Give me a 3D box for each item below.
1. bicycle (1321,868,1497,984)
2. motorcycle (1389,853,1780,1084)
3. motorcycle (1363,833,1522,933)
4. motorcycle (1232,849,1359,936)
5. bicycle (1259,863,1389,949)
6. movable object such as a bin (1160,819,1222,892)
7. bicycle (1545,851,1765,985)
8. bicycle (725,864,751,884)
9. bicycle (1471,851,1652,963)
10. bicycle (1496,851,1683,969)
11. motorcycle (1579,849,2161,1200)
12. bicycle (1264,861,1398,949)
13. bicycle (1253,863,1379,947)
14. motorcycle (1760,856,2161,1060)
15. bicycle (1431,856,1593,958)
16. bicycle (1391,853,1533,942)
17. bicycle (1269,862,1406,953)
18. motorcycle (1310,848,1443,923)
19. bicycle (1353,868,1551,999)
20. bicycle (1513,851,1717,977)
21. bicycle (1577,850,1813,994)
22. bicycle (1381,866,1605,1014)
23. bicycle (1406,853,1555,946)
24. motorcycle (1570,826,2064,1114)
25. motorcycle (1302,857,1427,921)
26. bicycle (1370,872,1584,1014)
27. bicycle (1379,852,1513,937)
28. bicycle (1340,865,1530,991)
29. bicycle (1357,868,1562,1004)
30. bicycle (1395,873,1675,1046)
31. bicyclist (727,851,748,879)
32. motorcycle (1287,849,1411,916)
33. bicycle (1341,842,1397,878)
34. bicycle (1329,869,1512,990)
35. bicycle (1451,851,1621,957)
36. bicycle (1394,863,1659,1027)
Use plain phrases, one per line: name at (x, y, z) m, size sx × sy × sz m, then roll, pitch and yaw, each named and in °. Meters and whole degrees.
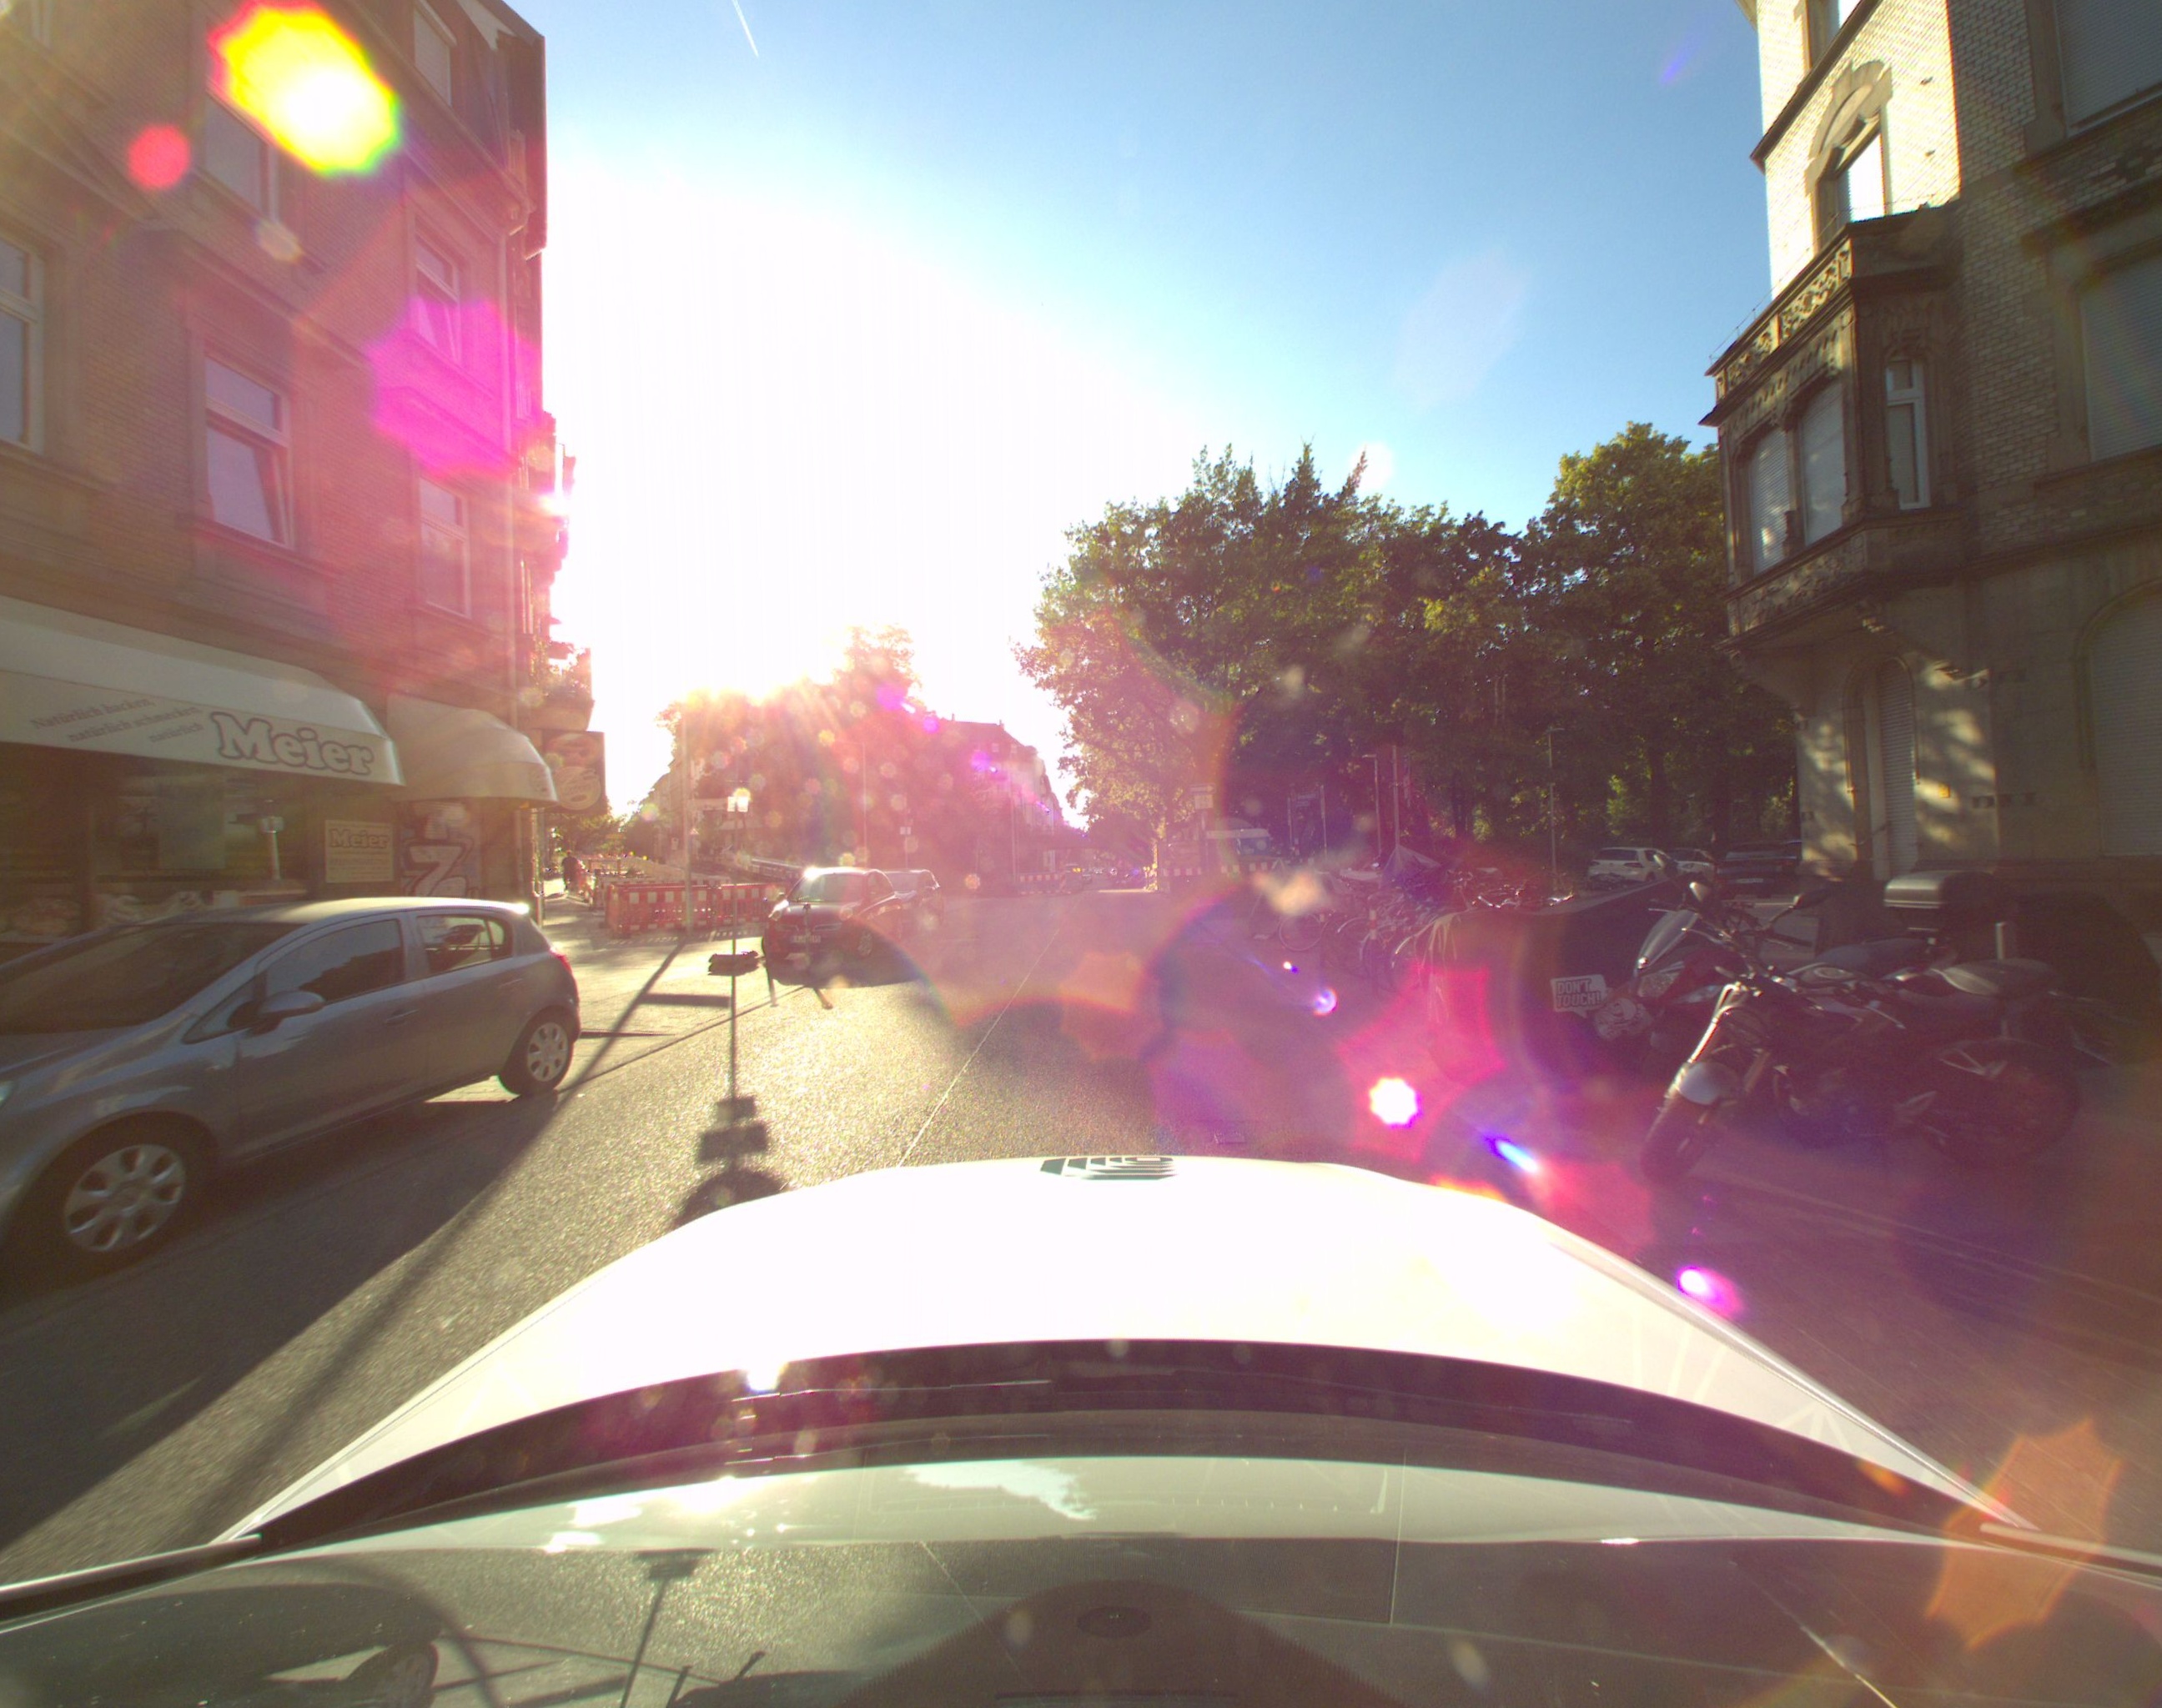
bicycle at (3.786, 0.816, 9.427) m, size 1.920 × 1.246 × 0.302 m, roll -2°, pitch 0°, yaw -4°
motorcycle at (3.305, 0.712, 5.524) m, size 2.016 × 1.285 × 0.904 m, roll -4°, pitch 0°, yaw 0°
motorcycle at (5.963, 0.468, 13.485) m, size 2.278 × 1.531 × 0.755 m, roll -2°, pitch -1°, yaw -5°
motorcycle at (3.731, 0.660, 14.171) m, size 1.913 × 1.412 × 0.947 m, roll -2°, pitch -1°, yaw 30°
bicycle at (3.770, 0.792, 12.671) m, size 1.920 × 1.246 × 0.302 m, roll -2°, pitch 0°, yaw -4°
movable object such as a bin at (4.432, 0.055, 32.416) m, size 1.979 × 2.699 × 3.123 m, roll -2°, pitch -1°, yaw 15°
bicycle at (5.789, 0.623, 8.244) m, size 1.920 × 1.246 × 0.479 m, roll -2°, pitch 0°, yaw -4°
bicycle at (-17.234, 0.985, 40.929) m, size 0.809 × 0.968 × 2.086 m, roll -1°, pitch 0°, yaw -34°
bicycle at (5.781, 0.621, 9.834) m, size 1.920 × 1.246 × 0.479 m, roll -2°, pitch 0°, yaw -4°
bicycle at (5.790, 0.621, 9.301) m, size 1.920 × 1.246 × 0.395 m, roll -2°, pitch 0°, yaw -4°
motorcycle at (3.409, 0.681, 3.613) m, size 2.009 × 1.327 × 0.620 m, roll -2°, pitch 0°, yaw -2°
bicycle at (3.786, 0.762, 12.350) m, size 1.920 × 1.246 × 0.302 m, roll -2°, pitch 0°, yaw -4°
bicycle at (3.746, 0.804, 13.002) m, size 1.920 × 1.246 × 0.302 m, roll -2°, pitch 0°, yaw -4°
motorcycle at (5.894, 0.630, 5.375) m, size 2.016 × 1.108 × 0.904 m, roll -4°, pitch 0°, yaw 0°
bicycle at (5.723, 0.687, 10.852) m, size 1.920 × 1.246 × 0.479 m, roll -2°, pitch 0°, yaw -4°
bicycle at (5.743, 0.637, 12.312) m, size 1.920 × 1.246 × 0.479 m, roll -2°, pitch 0°, yaw -4°
bicycle at (3.779, 0.777, 12.012) m, size 1.920 × 1.246 × 0.302 m, roll -2°, pitch 0°, yaw -4°
motorcycle at (5.569, 0.595, 15.460) m, size 2.267 × 1.341 × 0.658 m, roll -2°, pitch -1°, yaw 13°
bicycle at (3.824, 0.807, 8.419) m, size 1.920 × 1.246 × 0.302 m, roll -2°, pitch 0°, yaw -4°
bicycle at (5.755, 0.623, 8.807) m, size 1.920 × 1.246 × 0.479 m, roll -2°, pitch 0°, yaw -4°
bicycle at (5.809, 0.622, 7.739) m, size 1.920 × 1.246 × 0.479 m, roll -2°, pitch 0°, yaw -4°
bicycle at (3.768, 0.765, 7.468) m, size 1.920 × 1.246 × 0.302 m, roll -2°, pitch 0°, yaw -4°
bicycle at (5.768, 0.636, 11.793) m, size 1.920 × 1.246 × 0.479 m, roll -2°, pitch 0°, yaw -4°
motorcycle at (3.979, 0.601, 4.528) m, size 2.015 × 1.362 × 0.695 m, roll -4°, pitch 0°, yaw 2°
motorcycle at (5.634, 0.699, 16.345) m, size 2.266 × 1.180 × 0.975 m, roll -2°, pitch -1°, yaw 14°
bicycle at (3.770, 0.828, 7.775) m, size 1.920 × 1.246 × 0.302 m, roll -2°, pitch 0°, yaw -4°
bicycle at (5.731, 0.619, 12.815) m, size 1.920 × 1.246 × 0.452 m, roll -2°, pitch 0°, yaw -4°
bicycle at (3.801, 0.779, 8.755) m, size 1.920 × 1.246 × 0.302 m, roll -2°, pitch 0°, yaw -4°
bicycle at (3.757, 0.796, 8.105) m, size 1.920 × 1.246 × 0.302 m, roll -2°, pitch 0°, yaw -4°
bicycle at (3.423, 0.781, 6.209) m, size 1.811 × 1.127 × 0.443 m, roll -4°, pitch 0°, yaw 0°
bicyclist at (-17.293, 0.543, 41.012) m, size 0.809 × 1.383 × 0.975 m, roll -1°, pitch -1°, yaw -34°
motorcycle at (5.798, 0.602, 17.711) m, size 2.363 × 1.341 × 0.938 m, roll -2°, pitch -1°, yaw -8°
bicycle at (10.869, 0.223, 30.831) m, size 1.024 × 1.285 × 2.139 m, roll -3°, pitch 0°, yaw -10°
bicycle at (3.775, 0.822, 9.079) m, size 1.920 × 1.246 × 0.302 m, roll -2°, pitch 0°, yaw -4°
bicycle at (5.768, 0.620, 10.356) m, size 1.920 × 1.246 × 0.479 m, roll -2°, pitch 0°, yaw -4°
bicycle at (3.774, 0.738, 6.968) m, size 1.920 × 1.246 × 0.647 m, roll -2°, pitch 0°, yaw -4°
